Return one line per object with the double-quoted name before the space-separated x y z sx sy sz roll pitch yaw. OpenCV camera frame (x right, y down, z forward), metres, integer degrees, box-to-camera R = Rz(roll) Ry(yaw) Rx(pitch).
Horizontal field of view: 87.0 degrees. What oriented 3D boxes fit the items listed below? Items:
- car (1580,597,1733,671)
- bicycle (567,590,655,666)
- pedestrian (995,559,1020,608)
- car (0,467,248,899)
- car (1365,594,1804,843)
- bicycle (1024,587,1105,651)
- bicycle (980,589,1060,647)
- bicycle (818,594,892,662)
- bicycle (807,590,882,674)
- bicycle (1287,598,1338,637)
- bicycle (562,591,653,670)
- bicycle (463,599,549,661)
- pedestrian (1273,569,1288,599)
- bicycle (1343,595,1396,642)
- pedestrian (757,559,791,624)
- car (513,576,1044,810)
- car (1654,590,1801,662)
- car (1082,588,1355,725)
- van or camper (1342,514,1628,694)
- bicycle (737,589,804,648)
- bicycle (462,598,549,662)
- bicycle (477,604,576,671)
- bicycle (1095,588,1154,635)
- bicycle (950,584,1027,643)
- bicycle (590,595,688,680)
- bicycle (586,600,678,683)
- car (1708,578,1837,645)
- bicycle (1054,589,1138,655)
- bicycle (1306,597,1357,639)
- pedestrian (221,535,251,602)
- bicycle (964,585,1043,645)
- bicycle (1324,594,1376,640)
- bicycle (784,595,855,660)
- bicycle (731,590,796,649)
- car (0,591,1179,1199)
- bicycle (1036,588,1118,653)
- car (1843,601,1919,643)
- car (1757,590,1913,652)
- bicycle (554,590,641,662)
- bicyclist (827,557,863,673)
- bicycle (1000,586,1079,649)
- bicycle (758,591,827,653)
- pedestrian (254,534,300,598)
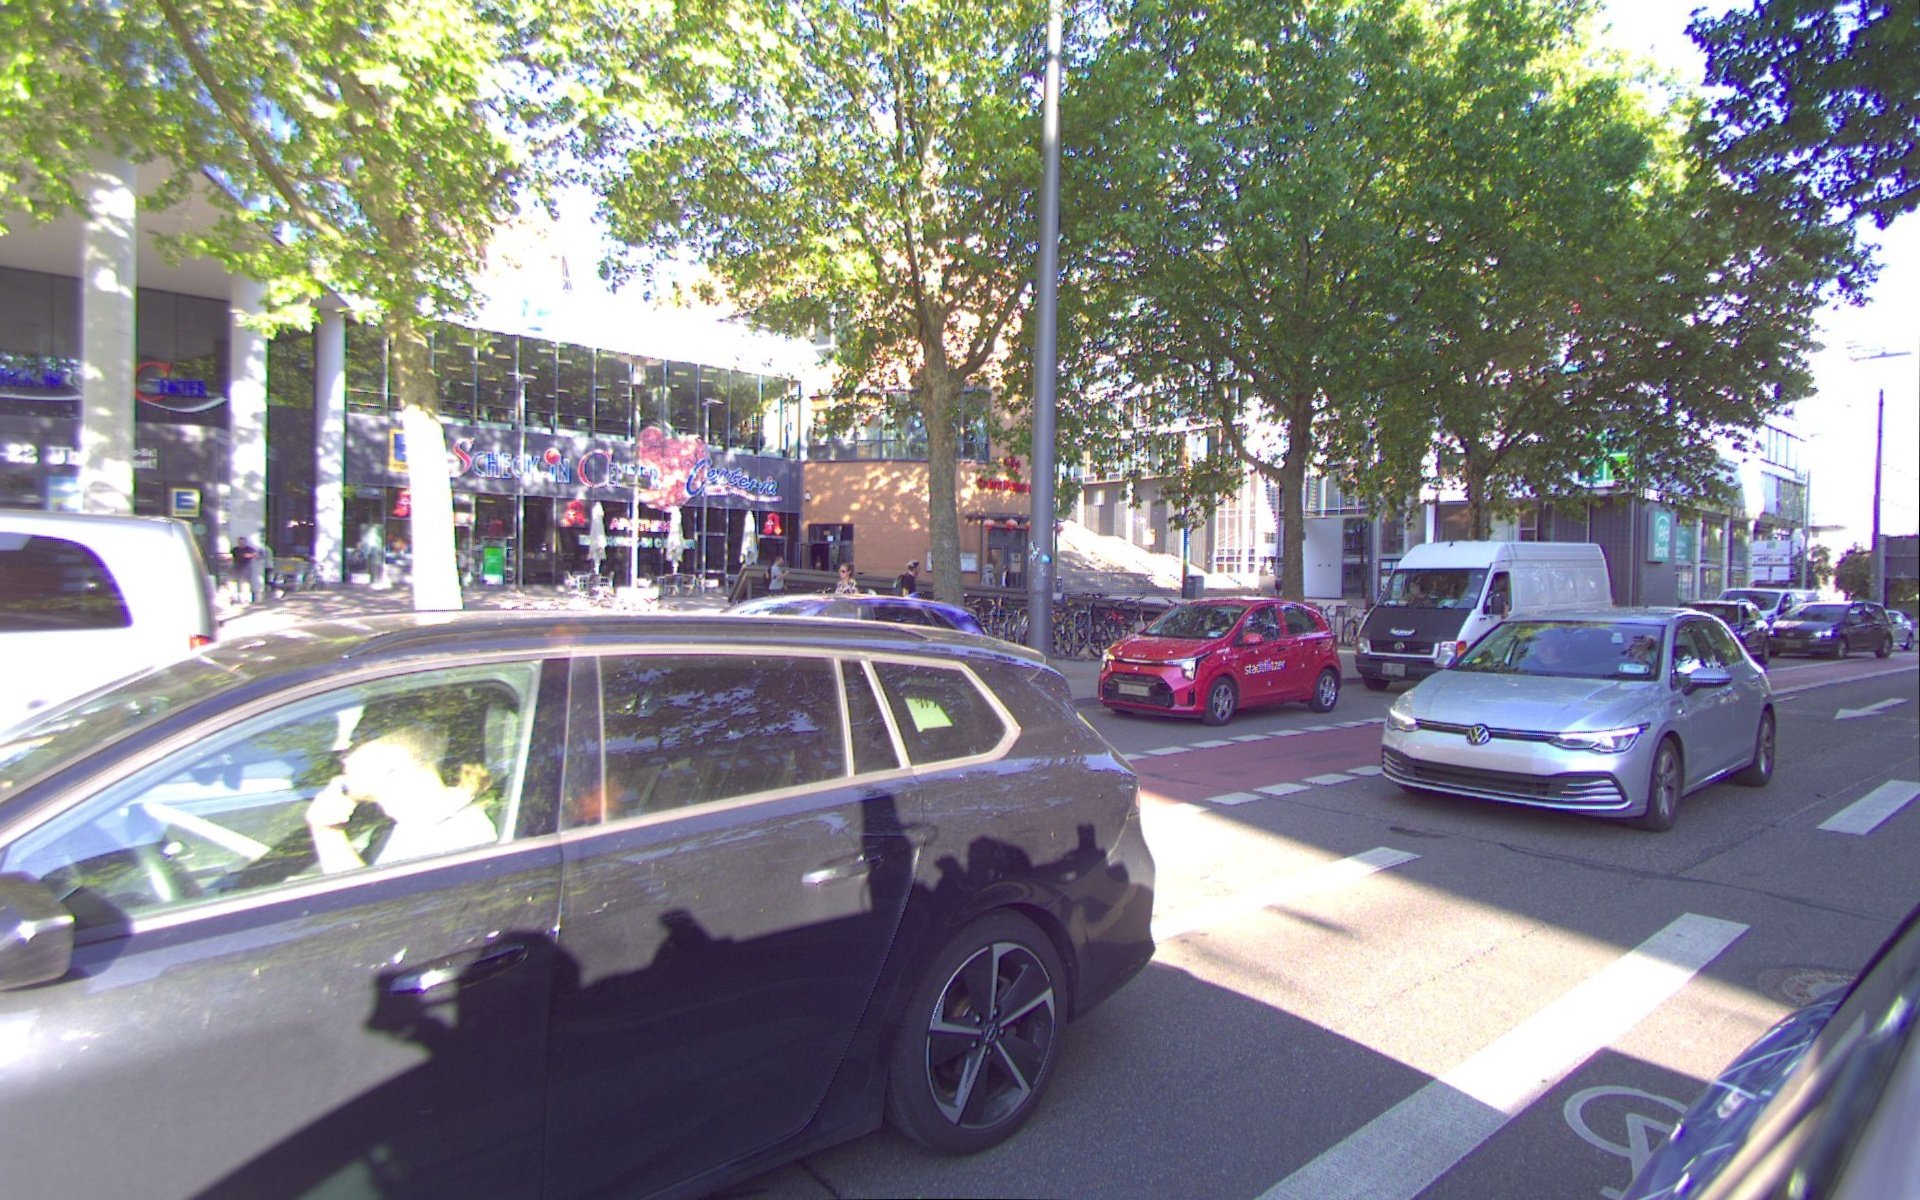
"car" 15.335 0.682 22.219 3.927 1.446 1.683 0 1 -38
"bicycle" -5.361 0.407 15.588 0.372 1.110 1.269 2 1 41
"pedestrian" 2.008 -0.697 42.895 0.575 2.062 0.876 1 1 -35
"car" -6.249 0.358 4.389 5.008 2.004 1.940 0 2 -41
"car" 4.983 0.694 7.875 3.928 1.458 1.733 0 0 -39
"bicycle" 2.109 0.364 20.259 1.818 1.209 0.484 0 1 -41
"bicycle" 1.254 0.353 20.969 1.818 1.139 0.484 0 2 -41
"bicycle" -1.772 0.454 17.117 1.202 1.110 0.420 0 1 -40
"bicycle" -1.796 0.483 15.796 1.126 1.271 0.379 0 1 -41
"bicycle" 9.924 0.485 28.454 1.818 1.046 0.515 0 2 -41
"bicycle" -5.159 0.425 14.840 1.202 1.110 0.396 0 1 -40
"bicycle" -7.123 0.464 15.921 1.198 0.938 0.465 1 1 -22
"pedestrian" 17.261 -0.856 54.531 0.707 1.578 0.638 1 1 14
"bicycle" 11.031 0.480 27.233 1.818 1.209 0.521 0 2 -41
"pedestrian" -5.187 -0.242 28.265 0.869 1.805 0.604 1 1 -14
"car" -1.369 0.592 8.657 4.177 1.503 1.742 0 2 -41
"car" 19.203 0.594 25.274 4.148 1.640 1.819 0 1 -36
"car" 3.362 0.610 12.854 3.588 1.476 1.605 0 1 -41
"van or camper" 9.273 0.047 17.541 6.456 2.611 1.998 0 0 -39
"bicycle" -3.644 0.345 19.505 1.202 1.110 0.444 0 1 -40
"bicycle" -6.960 0.455 15.543 1.198 0.930 0.442 1 1 -22
"bicycle" -6.240 0.520 14.596 1.231 0.898 0.462 0 1 -40
"bicycle" 4.402 0.308 27.051 1.759 1.209 0.517 0 2 -41
"bicycle" 0.635 0.273 21.701 1.818 1.209 0.434 0 1 -41
"bicycle" -4.404 0.496 13.915 1.202 1.110 0.413 0 1 -40
"bicycle" -4.582 0.566 14.181 1.202 1.110 0.269 0 1 -40
"car" 26.349 0.347 32.775 4.863 2.020 1.968 0 1 -35
"bicycle" 2.619 0.400 19.365 1.818 1.209 0.481 0 1 -41
"bicycle" 10.307 0.483 28.044 1.766 1.108 0.522 0 2 -41
"pedestrian" -18.708 -0.804 26.159 0.506 1.707 0.604 1 1 -23
"bicycle" 0.933 0.298 21.348 1.818 1.209 0.458 0 1 -41
"bicycle" 10.663 0.446 27.631 1.818 1.209 0.495 0 2 -41
"bicycle" -2.486 0.470 17.989 1.202 1.110 0.400 0 1 -40
"bicycle" -3.889 0.374 20.049 1.202 1.110 0.429 0 1 -40
"car" -1.462 0.697 2.436 4.196 1.432 1.742 0 0 -41
"bicycle" 2.297 0.390 19.750 1.818 1.209 0.448 0 1 -41
"car" 33.519 0.752 36.518 3.927 1.394 1.802 0 2 -38
"car" 25.206 0.582 29.143 4.242 1.640 1.970 0 1 -28
"bicycle" -5.819 0.396 16.303 0.414 1.110 1.269 2 1 41
"bicyclist" -1.800 0.222 15.815 0.392 1.782 0.390 0 1 -41
"bicycle" 1.627 0.341 20.520 1.818 1.209 0.447 0 1 -41
"bicycle" -3.114 0.388 18.837 1.202 1.110 0.427 0 1 -40
"pedestrian" -18.955 -0.938 28.108 0.795 1.728 0.714 1 1 17
